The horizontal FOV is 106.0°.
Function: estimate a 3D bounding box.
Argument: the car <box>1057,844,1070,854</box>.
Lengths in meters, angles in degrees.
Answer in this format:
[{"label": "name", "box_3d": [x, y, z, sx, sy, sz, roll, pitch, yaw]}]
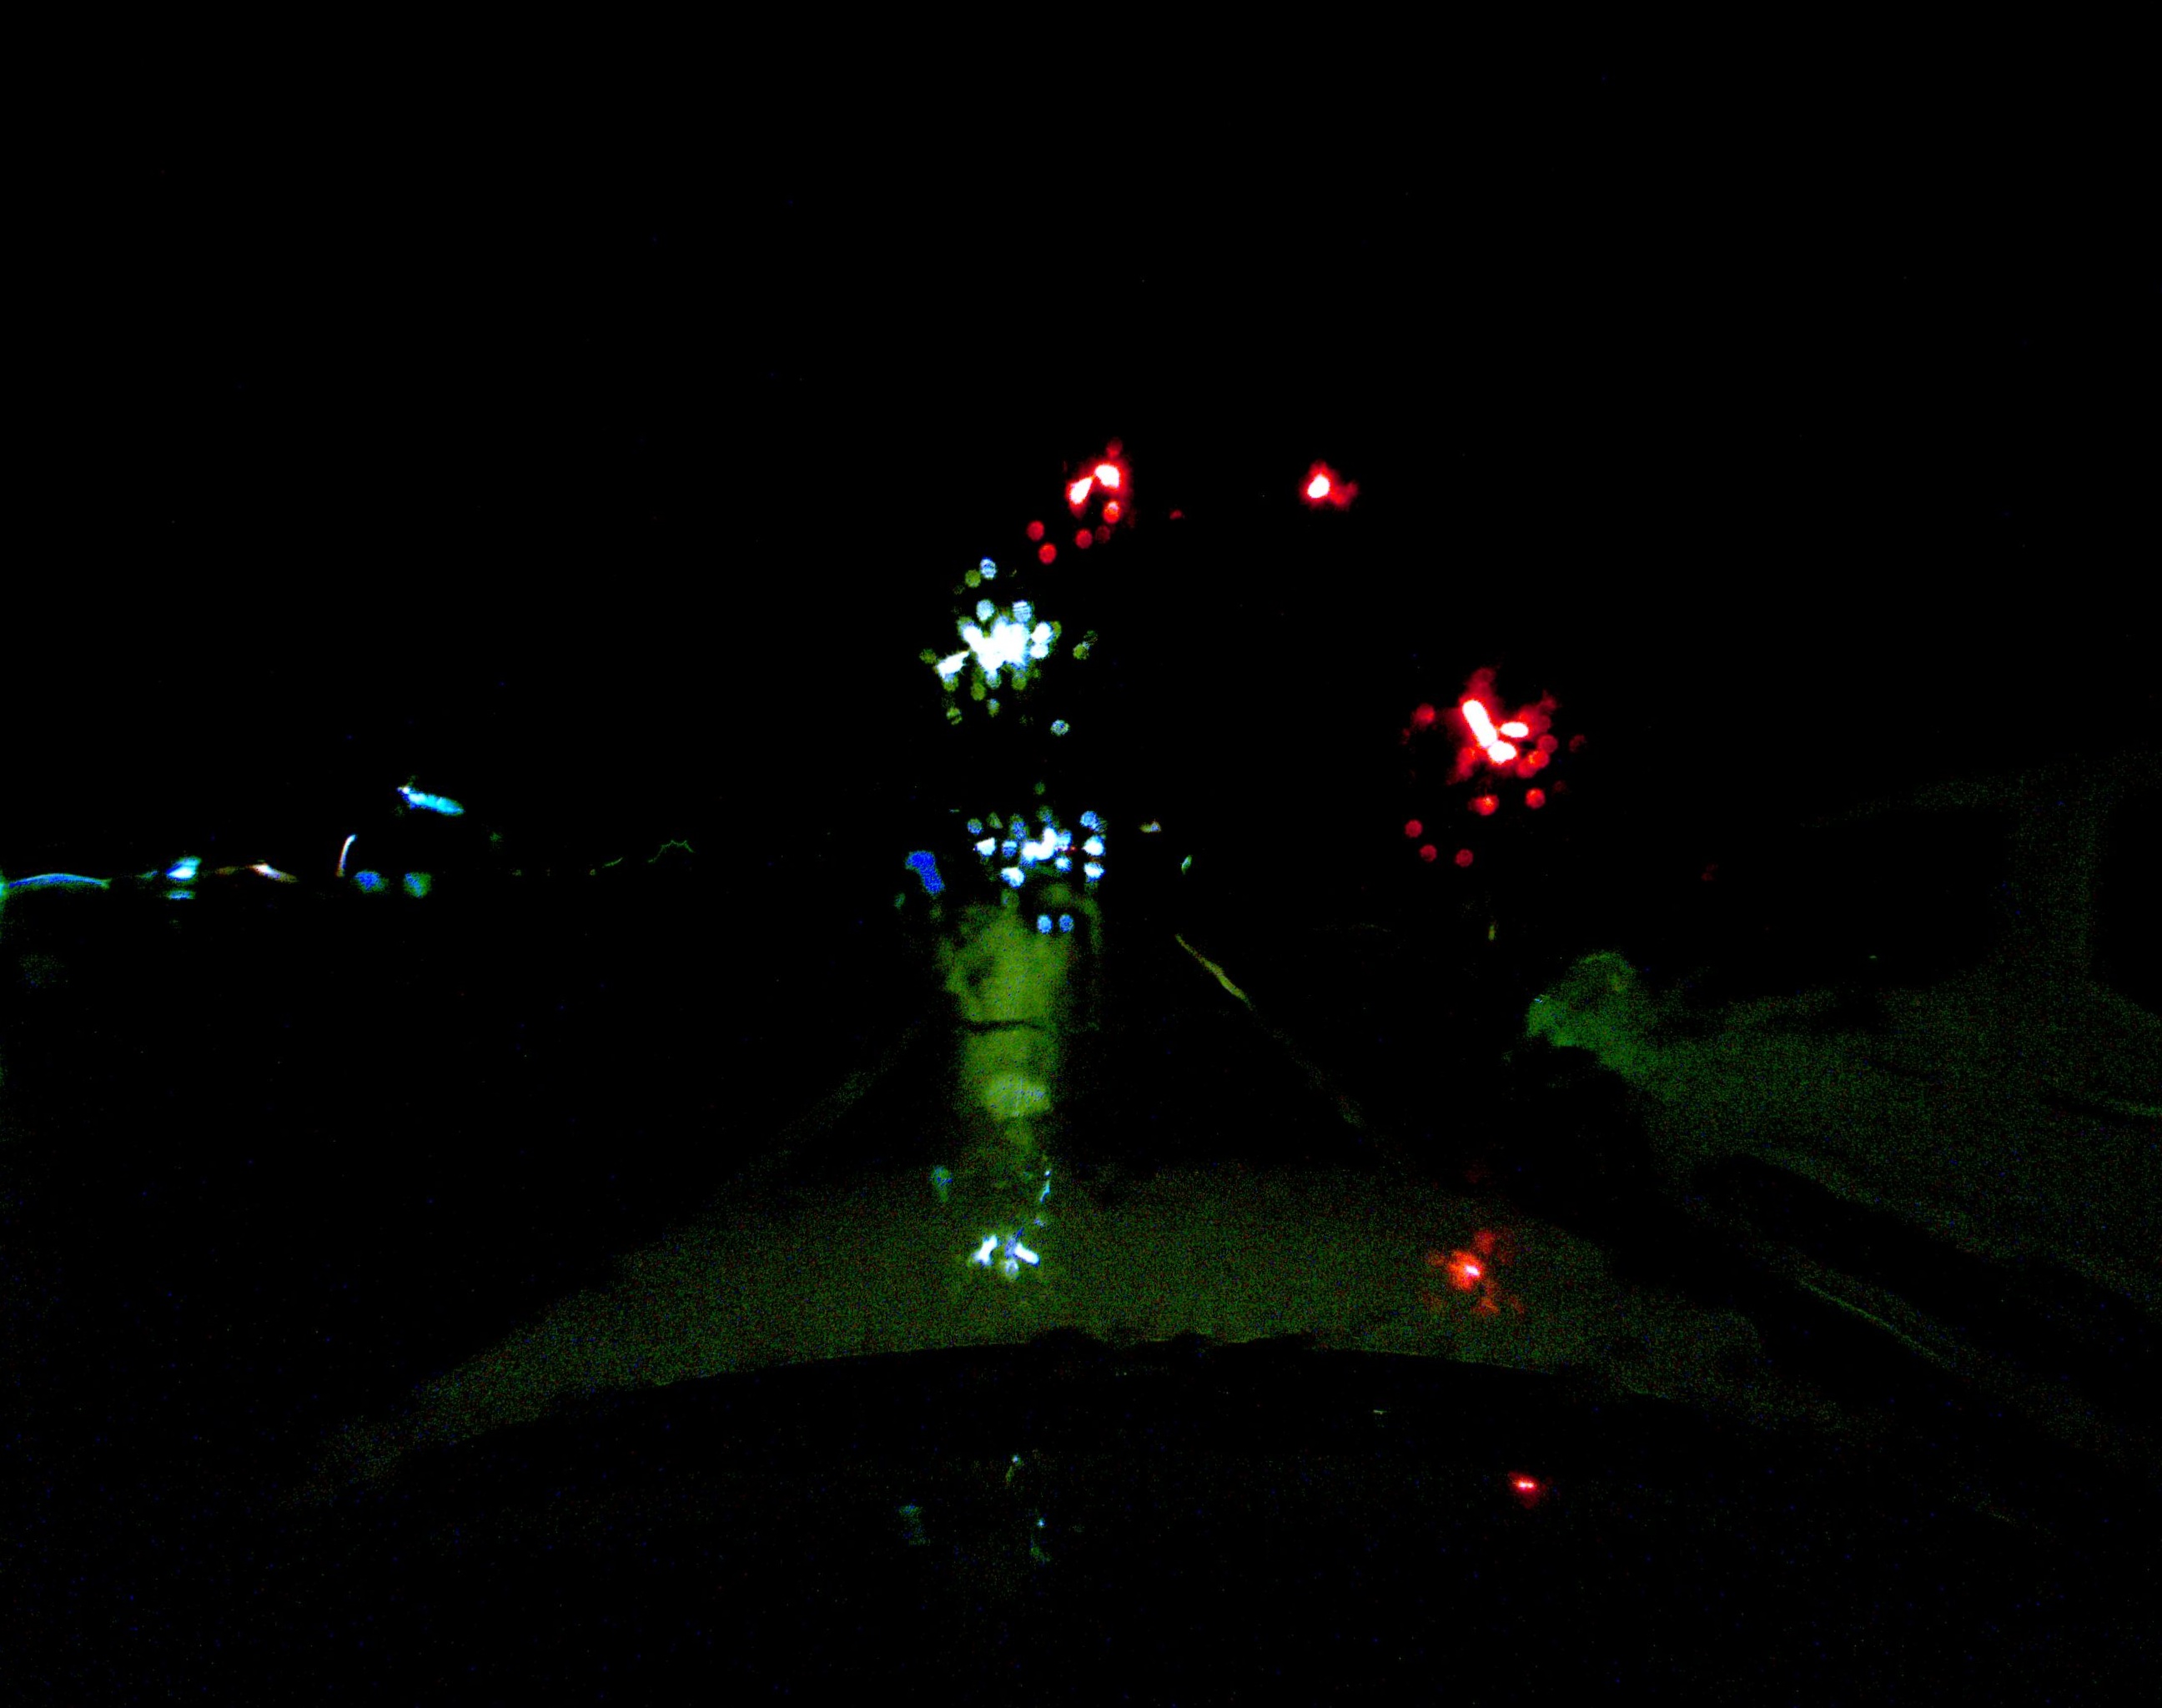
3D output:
[{"label": "car", "box_3d": [-3.552, -1.056, 162.767, 1.983, 1.717, 4.007, 3, -1, 7]}]

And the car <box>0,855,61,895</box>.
[{"label": "car", "box_3d": [-41.345, 0.788, 30.460, 1.721, 1.519, 3.987, 0, 0, -9]}]

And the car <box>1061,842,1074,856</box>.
[{"label": "car", "box_3d": [-1.996, -0.766, 120.697, 1.786, 2.022, 4.578, -1, 0, 0]}]

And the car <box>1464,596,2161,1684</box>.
[{"label": "car", "box_3d": [2.895, 0.526, 1.948, 1.786, 2.022, 4.578, -1, 0, 0]}]

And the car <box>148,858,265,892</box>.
[{"label": "car", "box_3d": [-42.022, 0.966, 39.277, 1.721, 1.519, 3.988, 0, 0, -9]}]

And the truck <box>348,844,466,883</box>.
[{"label": "truck", "box_3d": [-41.468, 0.548, 50.330, 1.985, 2.271, 6.027, 0, 0, 4]}]
